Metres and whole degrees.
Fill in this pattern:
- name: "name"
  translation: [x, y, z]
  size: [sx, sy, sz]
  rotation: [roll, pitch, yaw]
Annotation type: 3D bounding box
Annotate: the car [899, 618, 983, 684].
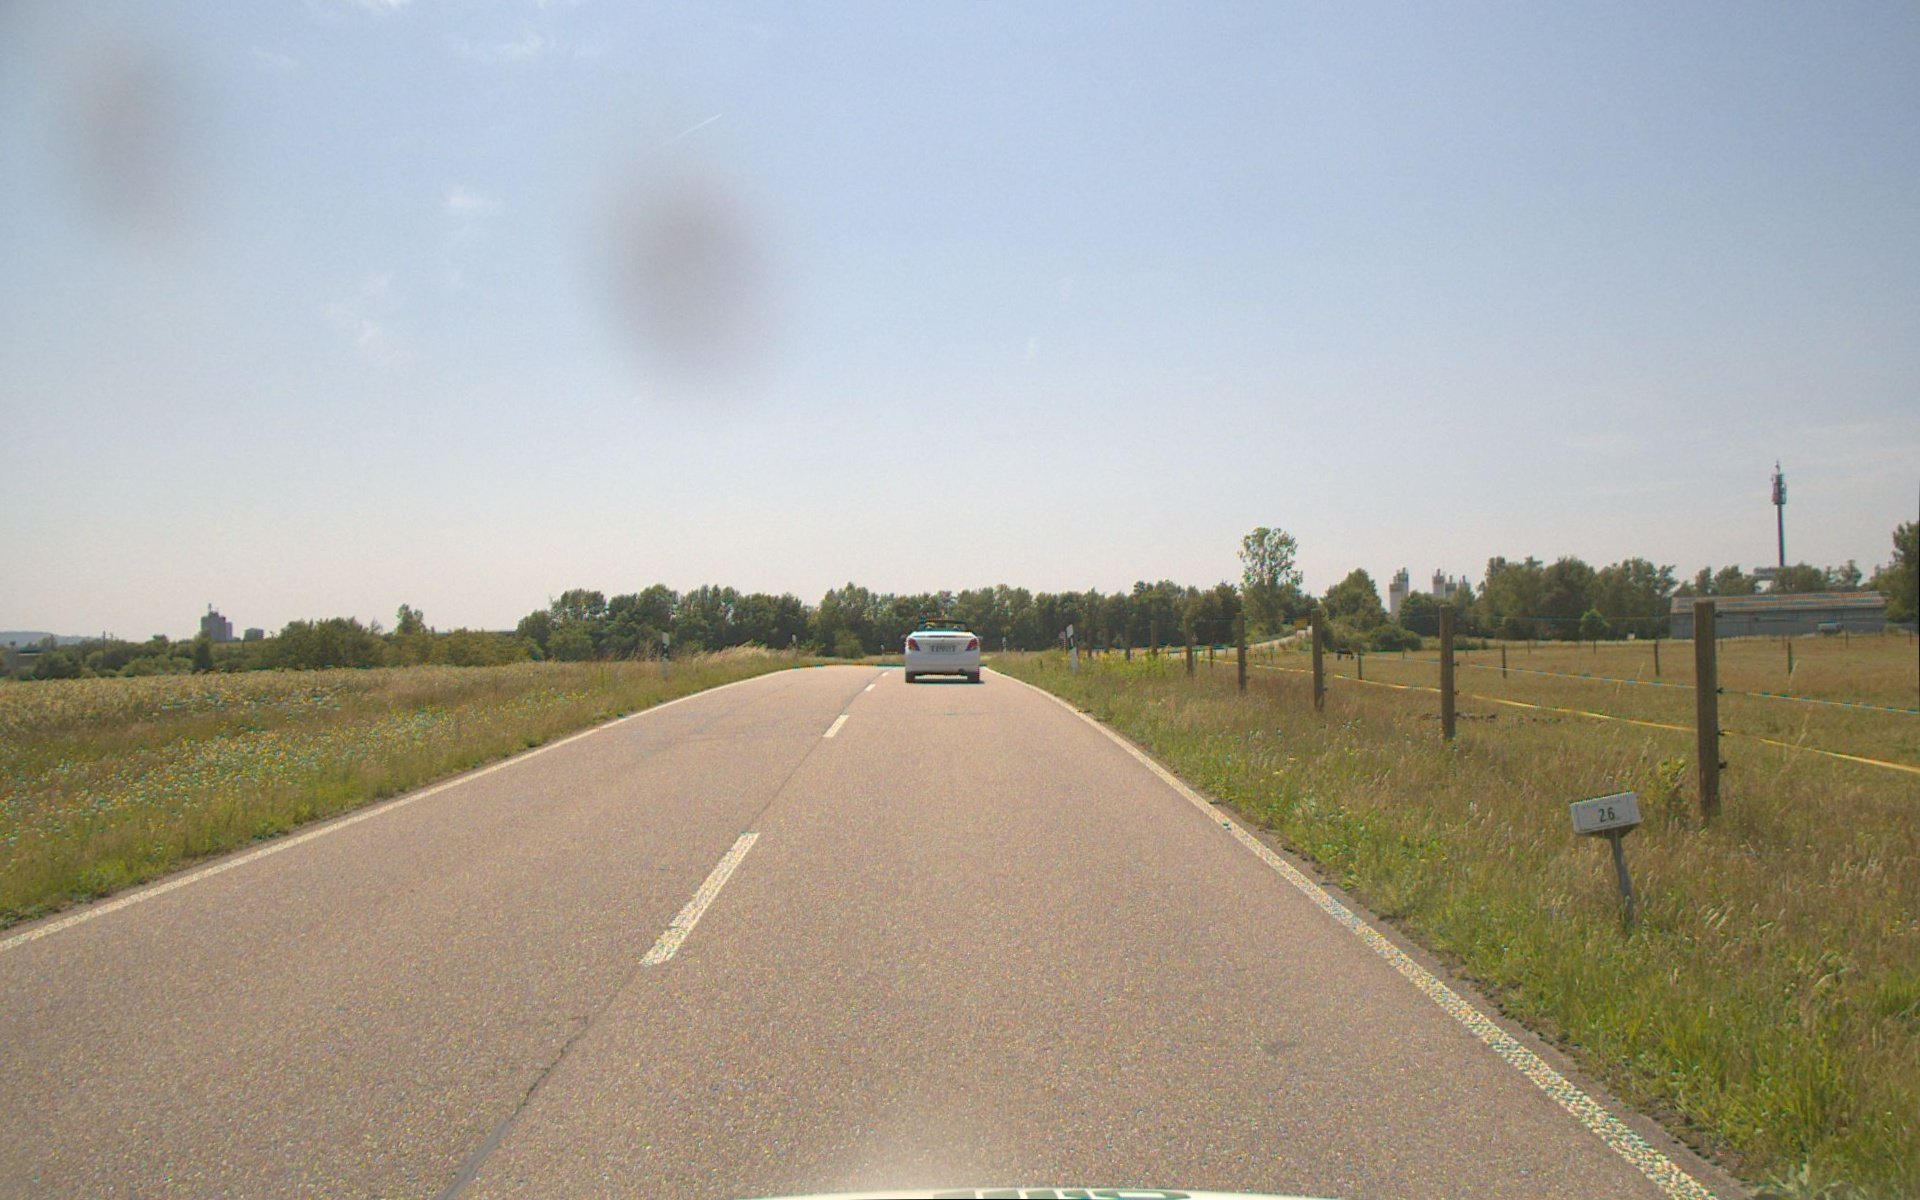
- name: "car"
  translation: [-0.435, 1.137, 37.733]
  size: [1.813, 1.403, 3.999]
  rotation: [0, -1, -1]
